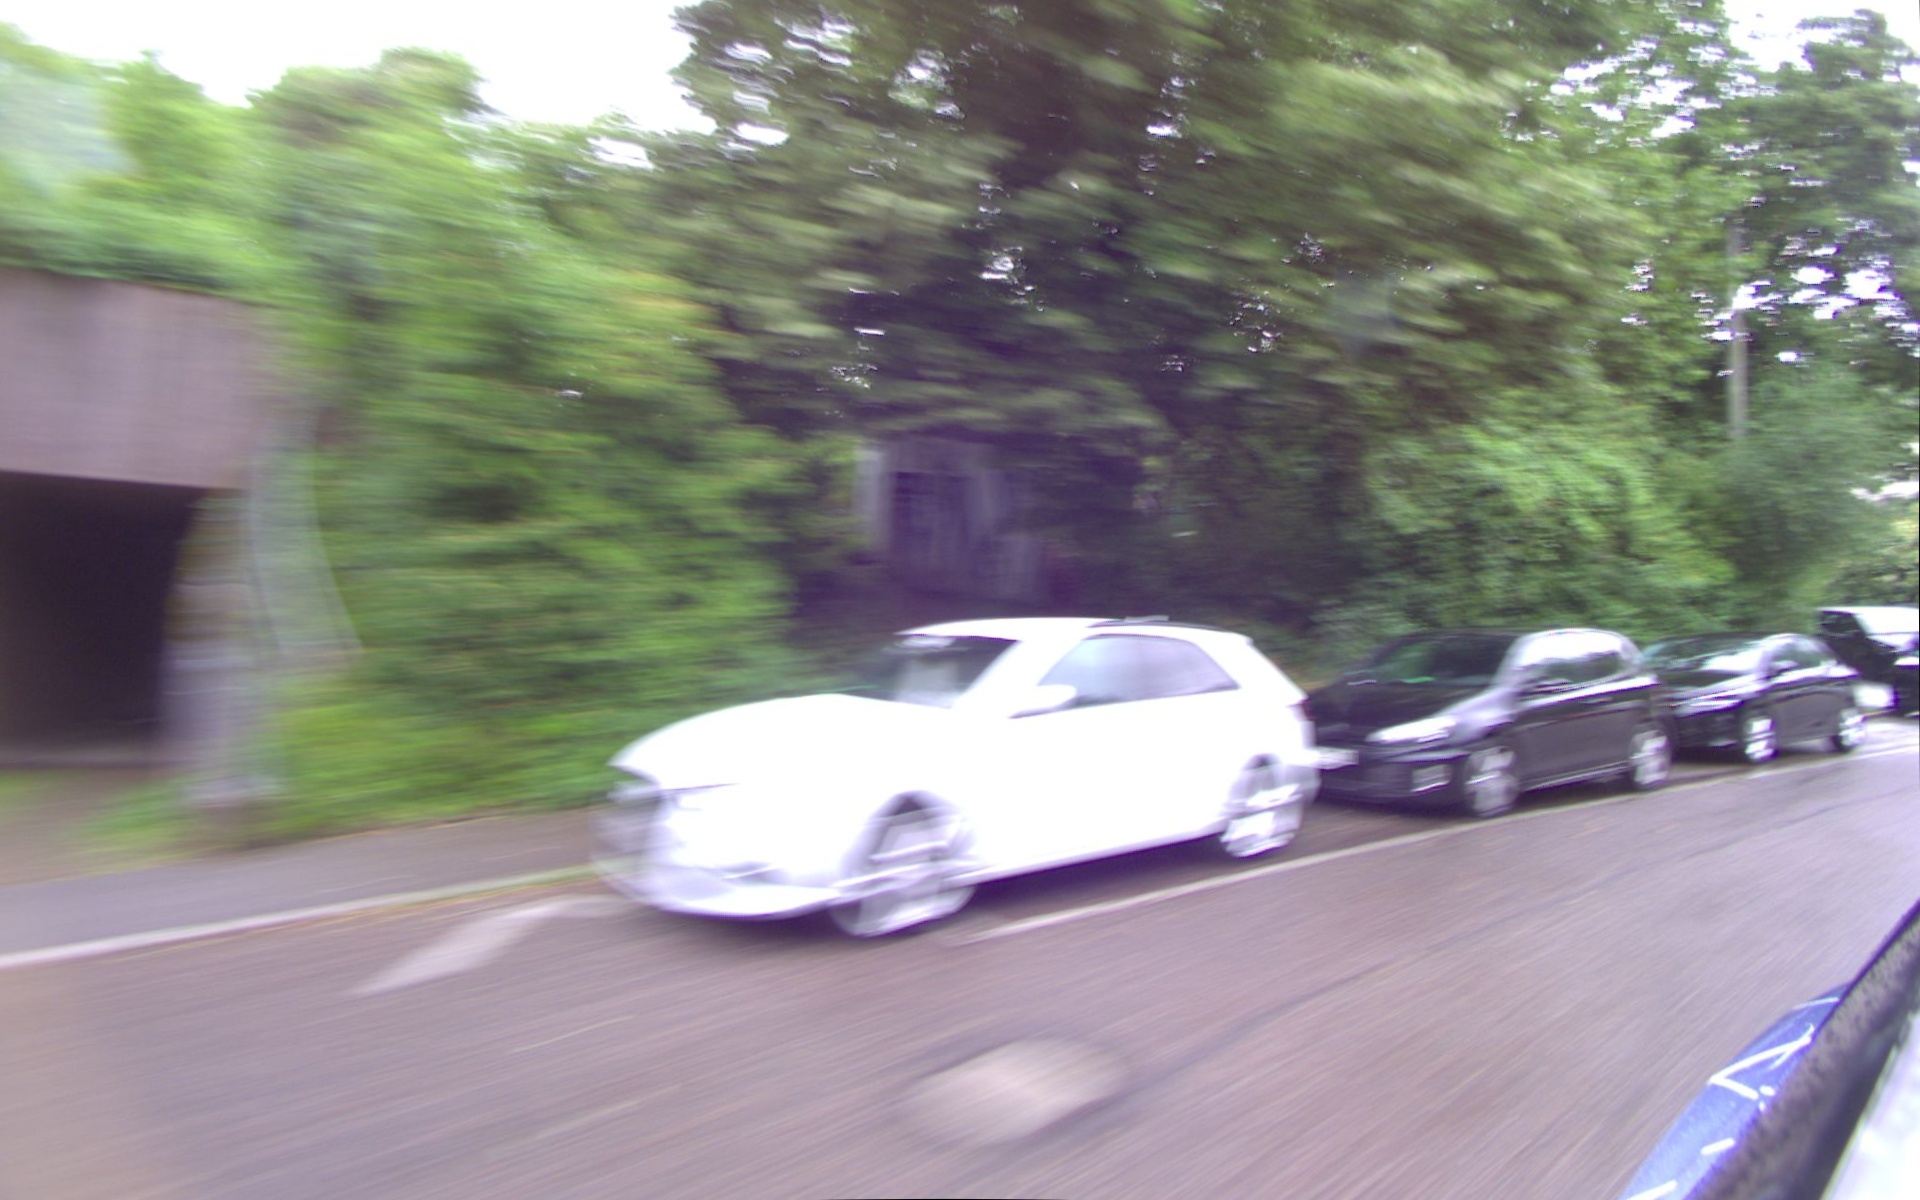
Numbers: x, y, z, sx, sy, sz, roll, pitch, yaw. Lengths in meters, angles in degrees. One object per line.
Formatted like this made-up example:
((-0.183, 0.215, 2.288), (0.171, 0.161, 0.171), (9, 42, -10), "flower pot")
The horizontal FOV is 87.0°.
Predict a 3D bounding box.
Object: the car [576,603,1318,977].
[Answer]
((0.132, 0.772, 5.799), (4.020, 1.418, 1.759), (2, -2, -38), "car")

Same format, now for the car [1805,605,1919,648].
((34.396, 1.007, 38.271), (1.578, 1.515, 4.029), (1, -2, 2), "car")

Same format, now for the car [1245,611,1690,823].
((4.430, 0.870, 8.697), (3.890, 1.443, 1.666), (2, -3, -33), "car")

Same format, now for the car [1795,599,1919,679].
((25.035, 0.976, 27.348), (1.973, 1.911, 5.007), (-3, -1, 18), "car")

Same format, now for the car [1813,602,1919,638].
((38.897, 0.817, 42.736), (1.875, 1.429, 4.139), (1, 0, -11), "car")

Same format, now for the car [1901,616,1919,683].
((22.275, 1.106, 21.984), (1.894, 1.507, 4.814), (-4, -2, 34), "car")

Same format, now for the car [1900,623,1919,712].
((18.137, 1.113, 17.768), (3.674, 1.508, 1.630), (0, -4, -36), "car")

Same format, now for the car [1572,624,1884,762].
((9.150, 1.019, 12.009), (3.745, 1.408, 1.595), (1, -4, -31), "car")
